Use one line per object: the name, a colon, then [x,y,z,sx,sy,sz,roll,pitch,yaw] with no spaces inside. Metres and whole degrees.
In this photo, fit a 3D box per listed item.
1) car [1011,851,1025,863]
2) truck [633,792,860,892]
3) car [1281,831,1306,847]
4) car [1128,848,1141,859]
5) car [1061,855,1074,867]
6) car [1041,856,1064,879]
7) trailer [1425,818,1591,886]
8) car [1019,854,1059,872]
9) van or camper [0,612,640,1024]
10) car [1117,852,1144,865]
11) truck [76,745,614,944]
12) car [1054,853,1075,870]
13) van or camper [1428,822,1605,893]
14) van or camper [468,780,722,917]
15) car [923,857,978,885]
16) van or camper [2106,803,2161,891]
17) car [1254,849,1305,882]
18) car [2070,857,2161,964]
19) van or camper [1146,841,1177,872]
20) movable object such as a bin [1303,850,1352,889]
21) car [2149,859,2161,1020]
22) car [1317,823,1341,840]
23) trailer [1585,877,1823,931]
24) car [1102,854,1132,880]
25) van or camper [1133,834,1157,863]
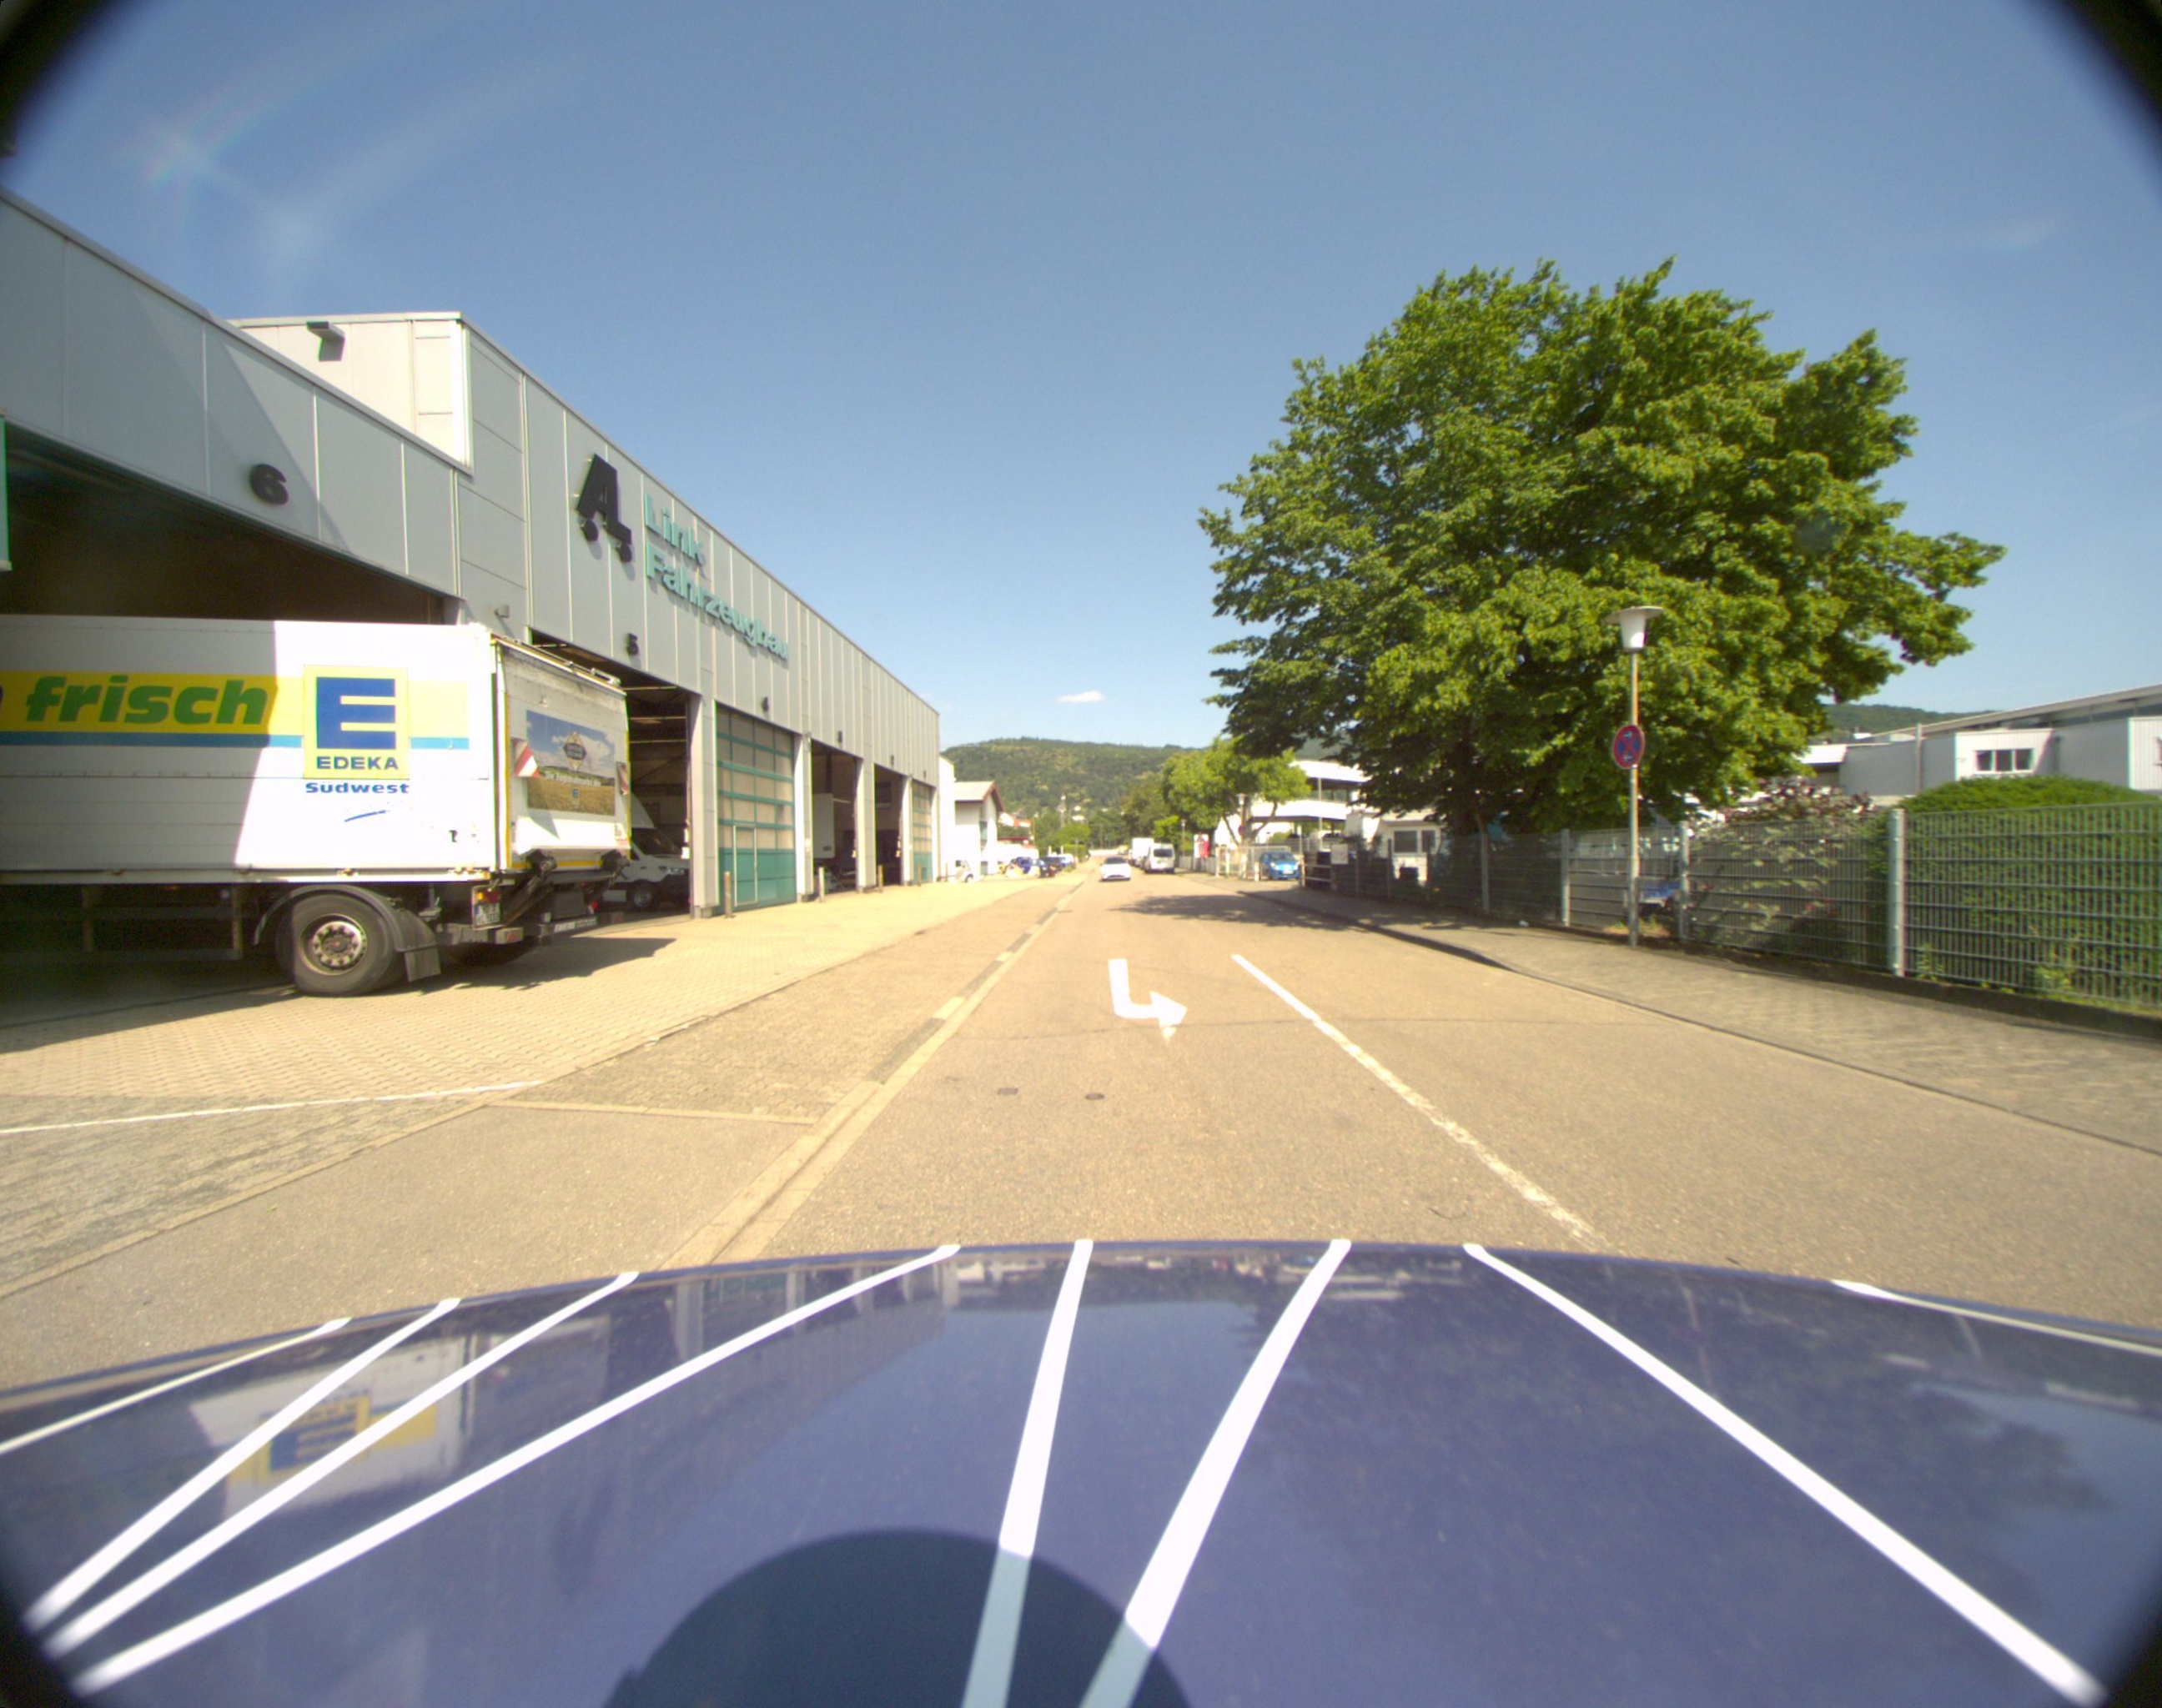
car: [-7.534,0.319,91.075,1.452,1.371,3.186,-3,1,-1]
truck: [-13.113,-0.455,30.203,7.853,3.760,2.625,0,1,3]
car: [19.353,-1.364,69.161,1.705,1.449,3.531,0,1,23]
car: [8.011,-0.123,114.316,1.708,1.564,3.524,-3,1,0]
car: [-1.628,0.808,90.569,1.452,1.371,3.186,-3,1,-1]
car: [-1.872,0.854,50.312,1.452,1.371,3.186,-1,1,-1]
trailer: [15.317,-0.073,27.478,4.781,2.143,2.000,-3,1,3]
car: [-3.269,0.694,59.438,2.975,1.332,1.453,-1,1,3]
van or camper: [-11.460,-0.303,8.016,11.634,3.671,2.779,-1,1,-5]
car: [5.481,0.458,84.628,1.711,1.449,3.519,-1,0,-19]
truck: [-13.561,-0.148,14.388,7.968,3.384,2.480,0,1,3]
car: [-1.533,0.665,70.463,1.453,1.487,3.184,-3,1,-9]
van or camper: [12.903,0.090,22.715,4.192,1.853,1.774,-3,1,4]
van or camper: [-12.169,-0.142,19.298,5.055,3.187,2.000,-1,1,0]
car: [-7.549,0.968,44.025,2.829,1.525,1.309,-1,-1,-45]
van or camper: [30.668,-0.219,19.904,4.595,2.292,1.782,-1,1,8]
car: [9.962,0.547,38.305,1.644,1.449,3.525,-3,1,1]
car: [16.627,0.786,10.705,3.077,1.464,1.653,-1,1,4]
van or camper: [6.330,0.182,60.198,2.028,2.363,4.685,0,1,1]
movable object such as a bin: [9.519,0.571,29.422,1.383,1.350,2.104,-3,1,8]
car: [12.247,0.808,6.437,3.834,1.533,1.856,0,1,-1]
car: [22.664,-2.059,69.272,1.705,1.449,3.530,-3,1,24]
trailer: [12.099,0.952,14.930,3.289,0.934,1.613,0,0,4]
car: [2.244,0.768,47.744,1.736,1.521,4.109,-1,0,2]
van or camper: [7.578,-0.691,90.798,2.525,3.350,5.592,0,0,1]
